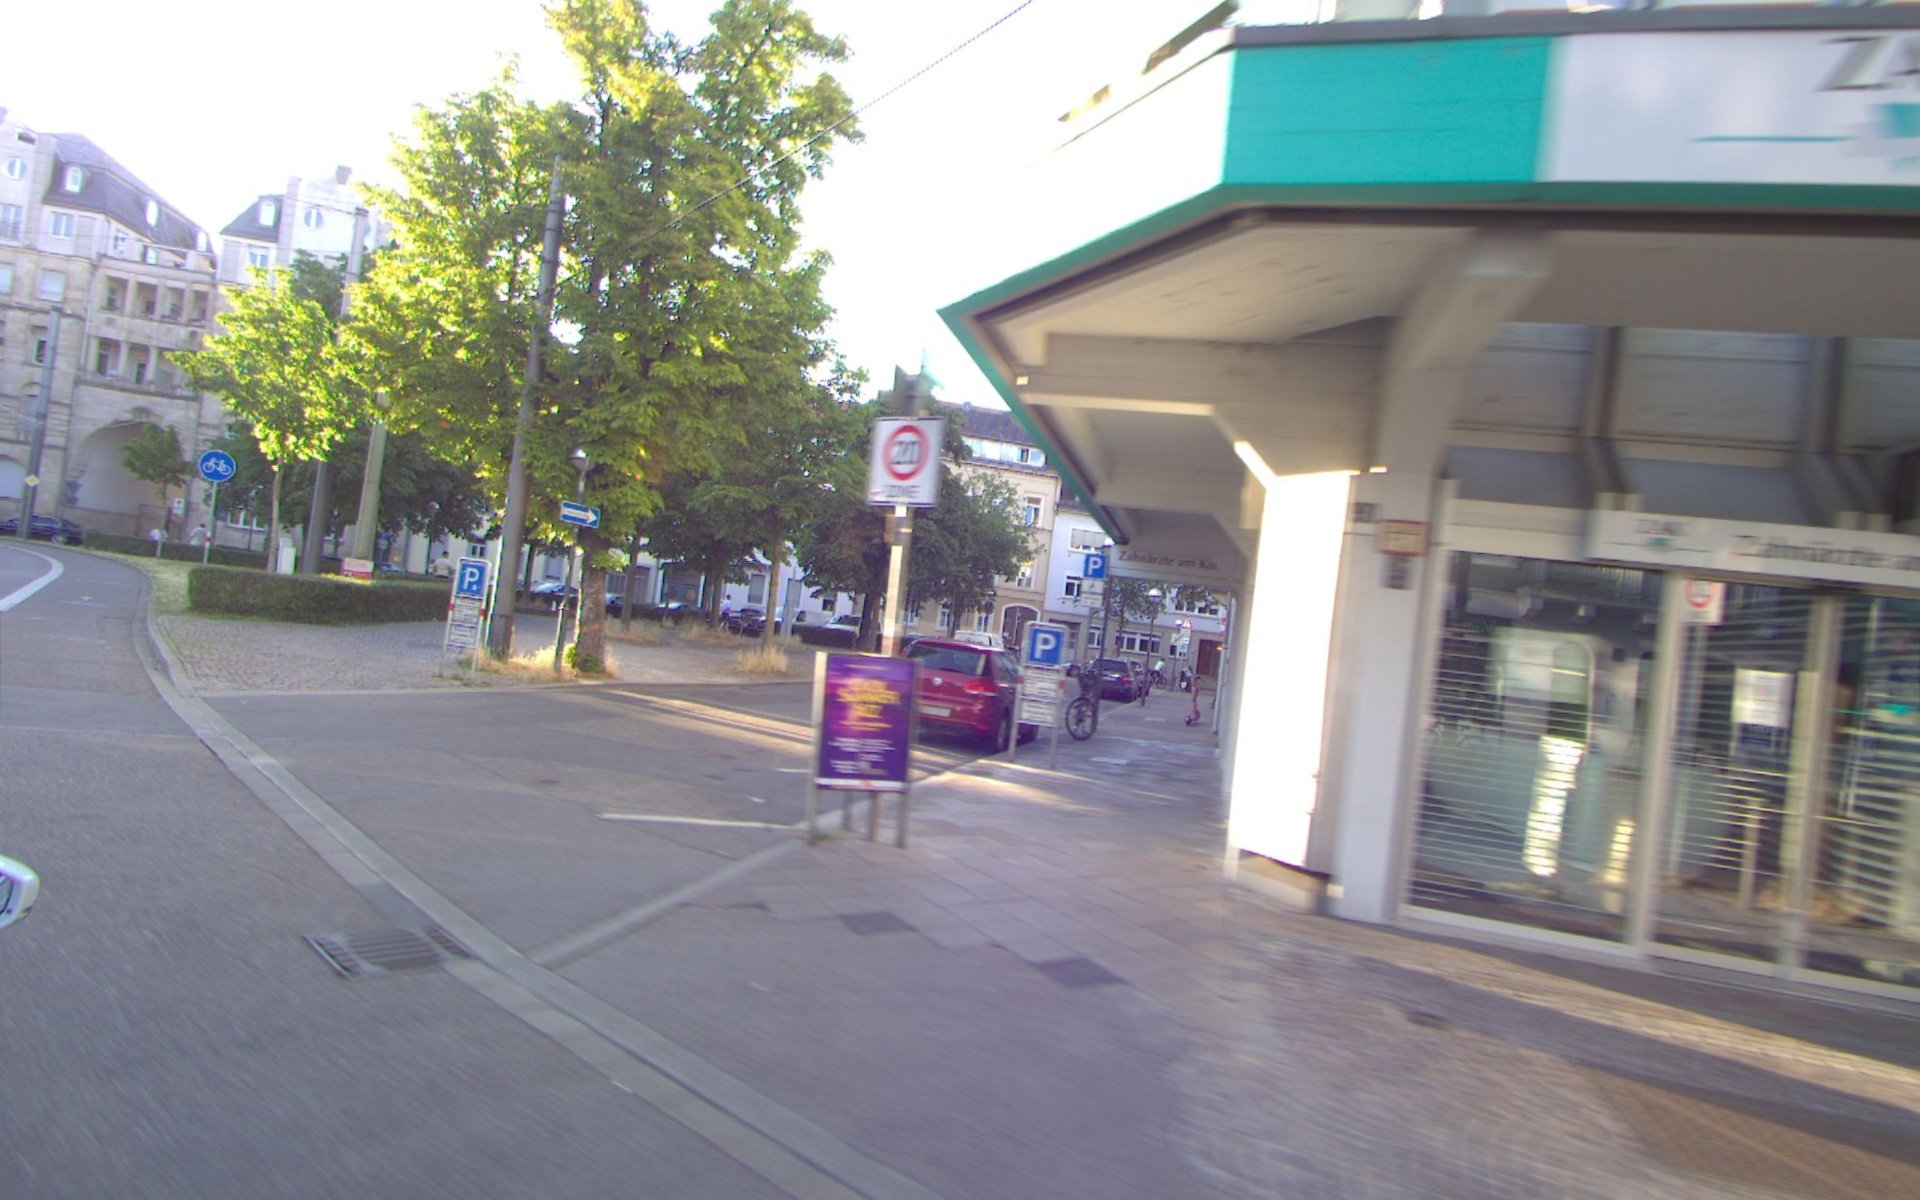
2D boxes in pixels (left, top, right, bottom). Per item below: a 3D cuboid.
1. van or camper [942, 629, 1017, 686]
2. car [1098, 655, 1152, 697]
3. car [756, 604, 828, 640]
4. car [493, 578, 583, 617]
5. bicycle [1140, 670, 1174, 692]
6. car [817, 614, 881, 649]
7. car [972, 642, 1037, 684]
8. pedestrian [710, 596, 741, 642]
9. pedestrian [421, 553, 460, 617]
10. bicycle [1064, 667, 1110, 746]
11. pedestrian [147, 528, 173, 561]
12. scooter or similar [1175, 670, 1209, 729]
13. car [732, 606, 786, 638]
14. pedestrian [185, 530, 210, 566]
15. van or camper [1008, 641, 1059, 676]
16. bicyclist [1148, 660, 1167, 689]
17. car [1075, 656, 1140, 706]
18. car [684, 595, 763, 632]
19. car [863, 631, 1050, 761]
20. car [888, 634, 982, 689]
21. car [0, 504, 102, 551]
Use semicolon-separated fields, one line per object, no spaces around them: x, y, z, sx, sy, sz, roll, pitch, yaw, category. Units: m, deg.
0.786;2.164;37.521;1.798;1.788;3.874;8;-2;14;van or camper
7.025;3.202;42.556;1.798;1.456;3.874;8;-2;14;car
-8.627;1.191;52.111;1.826;1.442;4.474;6;-2;16;car
-20.920;-0.073;50.063;1.826;1.442;4.336;6;-2;14;car
11.426;4.691;58.181;2.341;1.000;0.605;10;-2;-44;bicycle
-5.668;1.658;51.921;1.826;1.442;4.336;6;-2;14;car
1.923;2.635;41.988;1.826;1.442;4.336;6;-2;14;car
-9.693;0.792;41.613;0.756;1.769;1.008;7;-1;3;pedestrian
-17.423;-0.494;33.743;0.639;2.037;0.818;8;-1;-3;pedestrian
2.191;1.816;17.506;0.514;1.194;1.933;7;-2;3;bicycle
-39.647;-2.730;49.850;0.584;1.529;0.686;7;-1;-9;pedestrian
5.813;2.485;25.190;0.423;1.384;1.690;7;-2;22;scooter or similar
-12.588;1.410;63.212;1.962;1.581;4.005;8;-2;8;car
-34.458;-2.360;45.485;0.627;1.529;0.683;8;-1;-27;pedestrian
4.760;3.813;66.137;1.805;1.892;4.353;8;-2;-15;van or camper
11.427;4.318;58.155;0.882;1.529;0.523;8;-1;-44;bicyclist
5.346;2.882;36.151;1.798;1.456;3.874;8;-2;14;car
-11.880;0.707;50.845;1.826;1.442;4.474;6;-2;16;car
0.103;1.392;15.222;1.798;1.456;3.874;8;-2;14;car
-0.711;1.978;32.281;1.826;1.442;4.336;6;-2;14;car
-47.082;-3.764;51.179;4.703;1.782;1.813;8;-2;-19;car
